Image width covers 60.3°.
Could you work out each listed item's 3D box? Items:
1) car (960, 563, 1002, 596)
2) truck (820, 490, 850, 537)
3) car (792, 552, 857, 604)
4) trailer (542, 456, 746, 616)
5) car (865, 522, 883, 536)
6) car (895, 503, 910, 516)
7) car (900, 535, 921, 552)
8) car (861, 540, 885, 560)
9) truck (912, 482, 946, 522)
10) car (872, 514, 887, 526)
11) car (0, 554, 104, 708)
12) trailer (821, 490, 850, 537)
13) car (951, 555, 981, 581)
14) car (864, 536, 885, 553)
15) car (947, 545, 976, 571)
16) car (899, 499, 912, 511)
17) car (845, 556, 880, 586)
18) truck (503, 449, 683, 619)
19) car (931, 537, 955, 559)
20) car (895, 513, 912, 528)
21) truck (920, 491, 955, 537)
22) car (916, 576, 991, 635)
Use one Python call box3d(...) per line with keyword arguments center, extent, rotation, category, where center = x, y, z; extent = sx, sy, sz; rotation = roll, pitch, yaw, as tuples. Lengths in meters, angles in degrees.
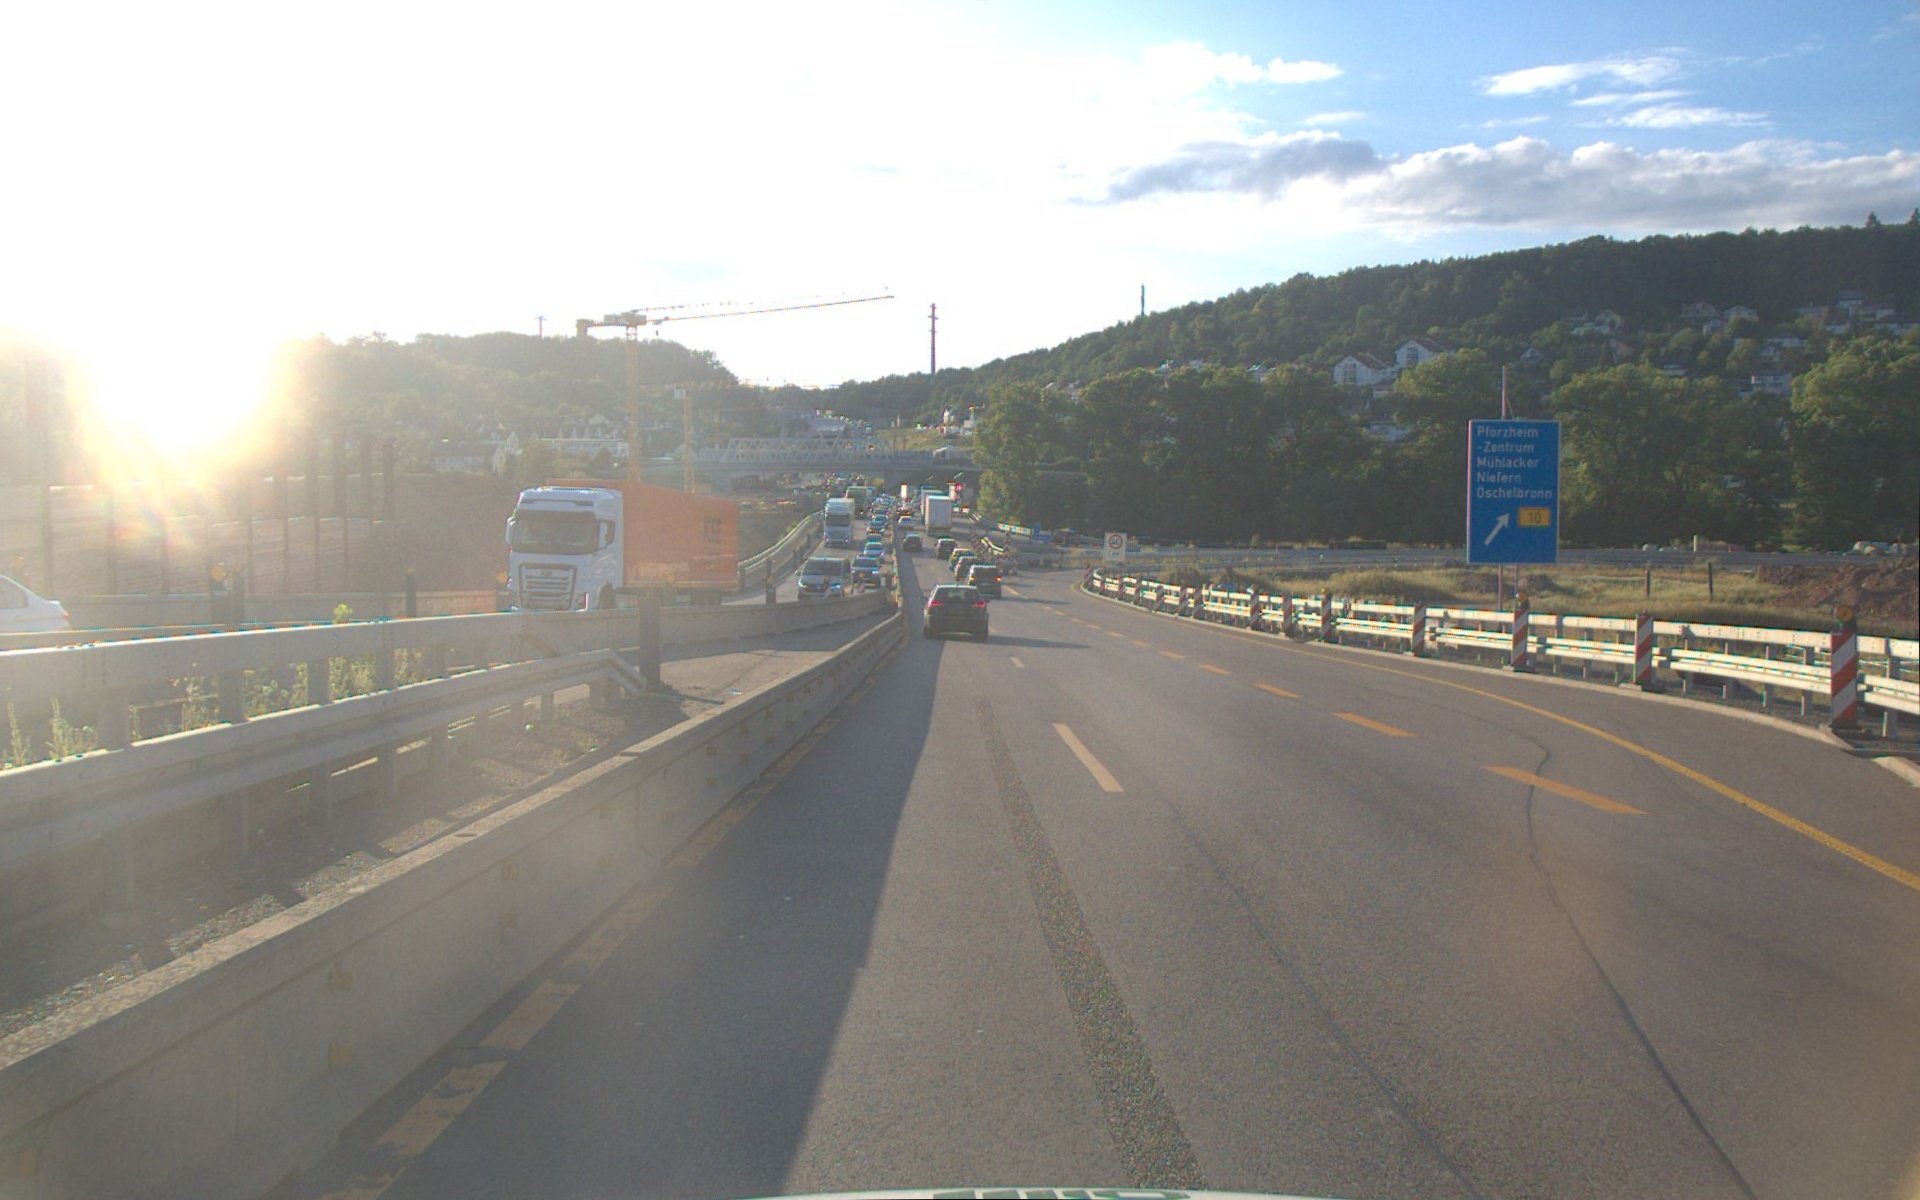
box3d(center=(1.052, -1.060, 84.754), extent=(1.777, 1.643, 4.523), rotation=(1, 1, -4), category="car")
box3d(center=(-11.762, -8.129, 155.776), extent=(2.502, 4.293, 6.048), rotation=(2, 2, -3), category="truck")
box3d(center=(-5.635, -0.943, 69.317), extent=(1.952, 2.048, 5.259), rotation=(2, 1, 3), category="car")
box3d(center=(-10.122, -1.967, 55.192), extent=(2.529, 4.548, 14.147), rotation=(2, 1, 6), category="trailer")
box3d(center=(-9.251, -7.692, 178.352), extent=(1.800, 1.433, 4.494), rotation=(1, 3, -3), category="car")
box3d(center=(-7.592, -12.017, 219.020), extent=(1.884, 1.578, 4.000), rotation=(2, 2, -2), category="car")
box3d(center=(-4.537, -5.197, 151.641), extent=(1.825, 1.444, 4.000), rotation=(2, 3, -2), category="car")
box3d(center=(-6.974, -3.971, 132.622), extent=(1.752, 1.514, 4.219), rotation=(2, 2, -1), category="car")
box3d(center=(-4.058, -12.783, 213.689), extent=(3.813, 4.573, 15.269), rotation=(2, 5, -3), category="truck")
box3d(center=(-9.627, -9.598, 197.922), extent=(1.681, 1.433, 4.327), rotation=(1, 3, -3), category="car")
box3d(center=(-10.990, 0.312, 17.021), extent=(1.694, 1.628, 4.663), rotation=(2, 1, 3), category="car")
box3d(center=(-12.140, -8.433, 162.284), extent=(2.481, 4.285, 13.928), rotation=(2, 2, -4), category="trailer")
box3d(center=(0.379, -2.060, 107.575), extent=(1.738, 1.613, 4.134), rotation=(2, 1, -2), category="car")
box3d(center=(-7.784, -5.043, 150.412), extent=(1.812, 1.508, 4.510), rotation=(1, 2, -2), category="car")
box3d(center=(0.102, -3.126, 122.322), extent=(1.838, 1.626, 4.964), rotation=(1, 4, -4), category="car")
box3d(center=(-7.790, -13.582, 237.095), extent=(1.884, 1.578, 4.000), rotation=(2, 2, -2), category="car")
box3d(center=(-5.592, -1.686, 95.240), extent=(1.752, 1.647, 4.873), rotation=(2, 2, -1), category="car")
box3d(center=(-10.747, -1.865, 49.376), extent=(2.529, 4.548, 8.339), rotation=(2, 1, 6), category="truck")
box3d(center=(-1.442, -4.383, 139.807), extent=(1.778, 1.660, 4.410), rotation=(2, 4, -3), category="car")
box3d(center=(-6.607, -9.299, 193.283), extent=(1.884, 1.579, 3.999), rotation=(2, 1, -2), category="car")
box3d(center=(-2.575, -9.642, 183.010), extent=(3.318, 4.574, 15.269), rotation=(2, 4, -2), category="truck")
box3d(center=(-0.212, 0.119, 45.120), extent=(1.735, 1.414, 3.997), rotation=(2, 1, -4), category="car")
